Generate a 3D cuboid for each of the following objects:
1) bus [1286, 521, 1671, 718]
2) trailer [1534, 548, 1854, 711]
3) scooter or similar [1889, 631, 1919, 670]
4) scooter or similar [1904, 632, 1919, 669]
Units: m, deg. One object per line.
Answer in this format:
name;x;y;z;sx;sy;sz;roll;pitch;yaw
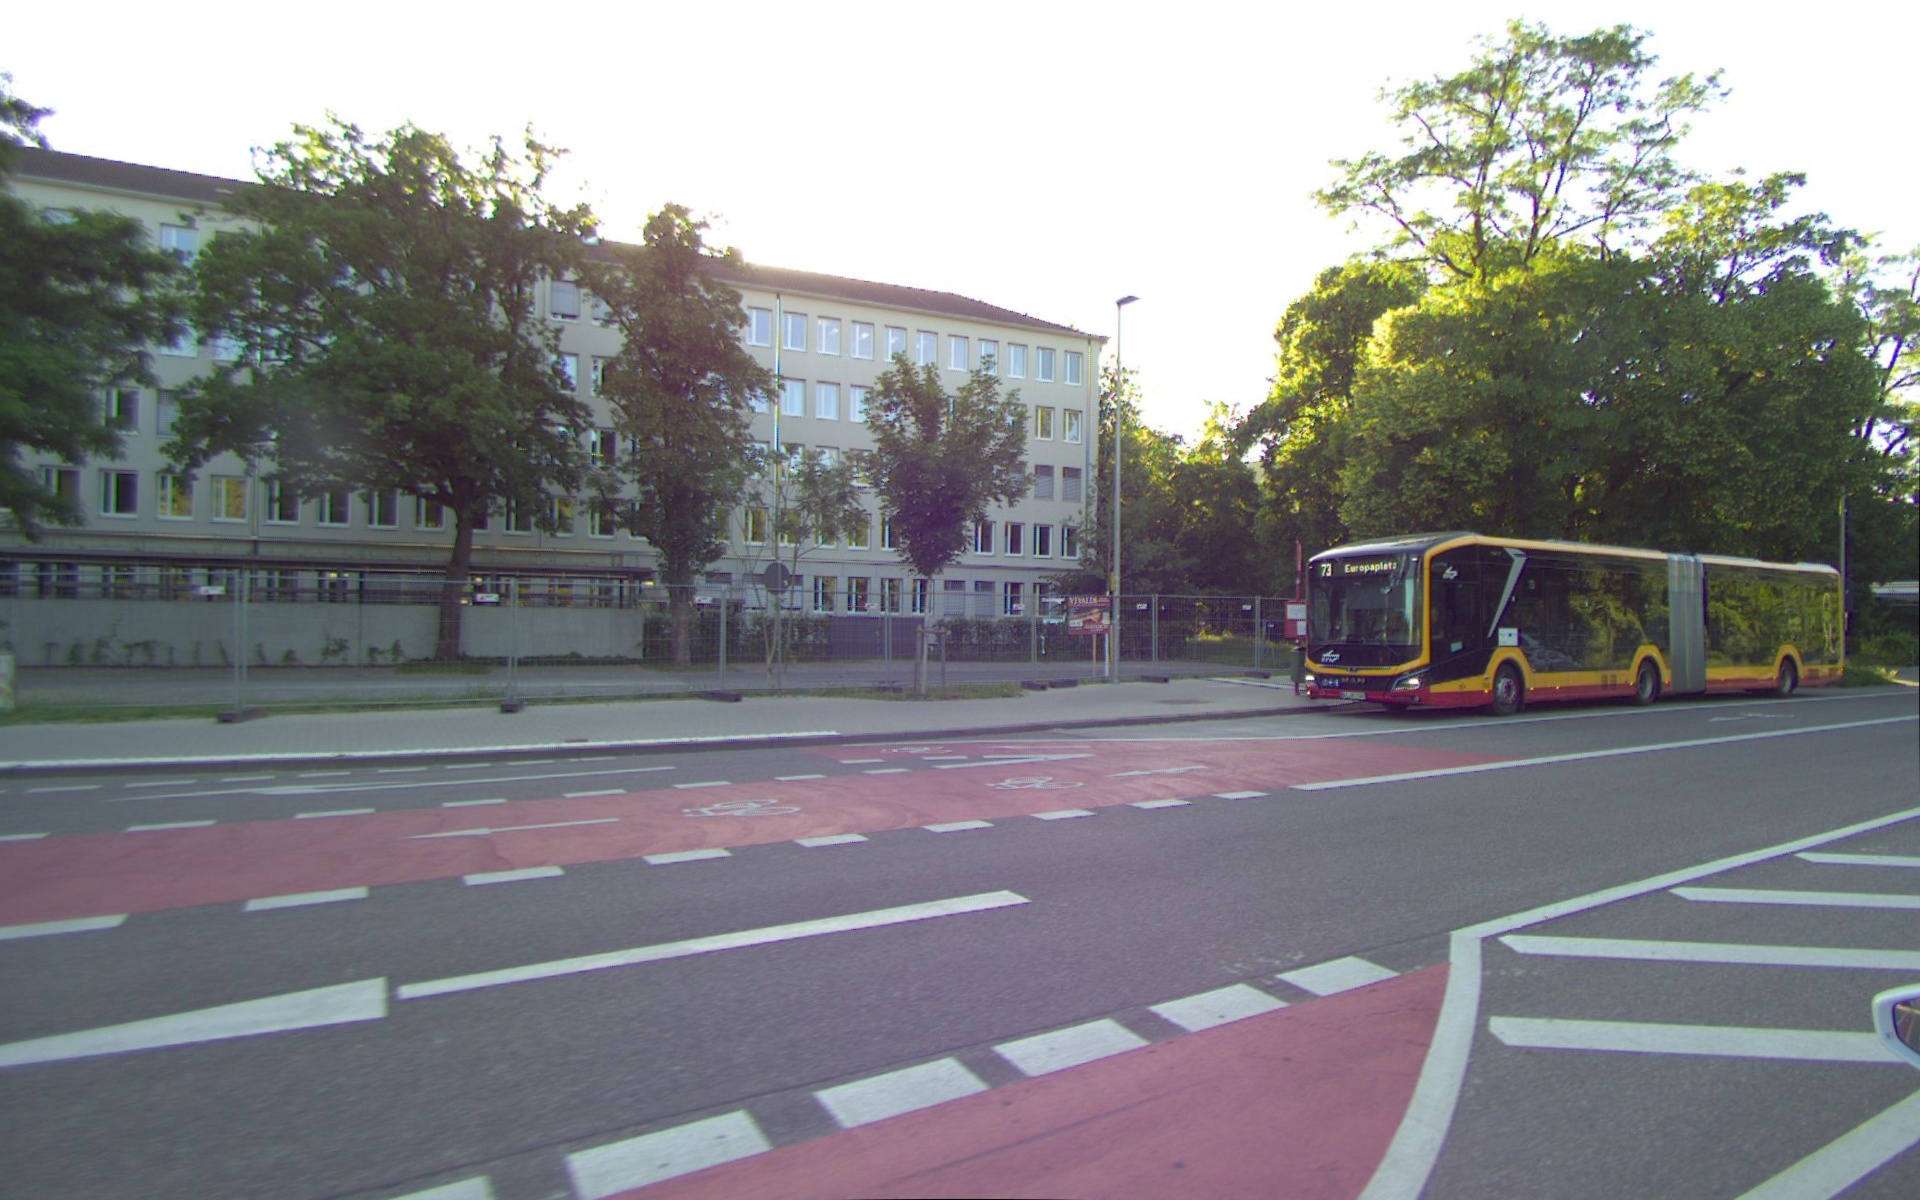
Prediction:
bus;10.493;0.445;19.948;8.502;3.239;2.826;2;-1;-31
trailer;18.097;0.715;24.524;9.254;3.400;2.840;2;1;-31
scooter or similar;43.443;2.301;46.062;1.722;1.739;0.823;1;-1;-32
scooter or similar;45.082;2.359;47.063;1.722;1.739;0.823;1;-1;-32
